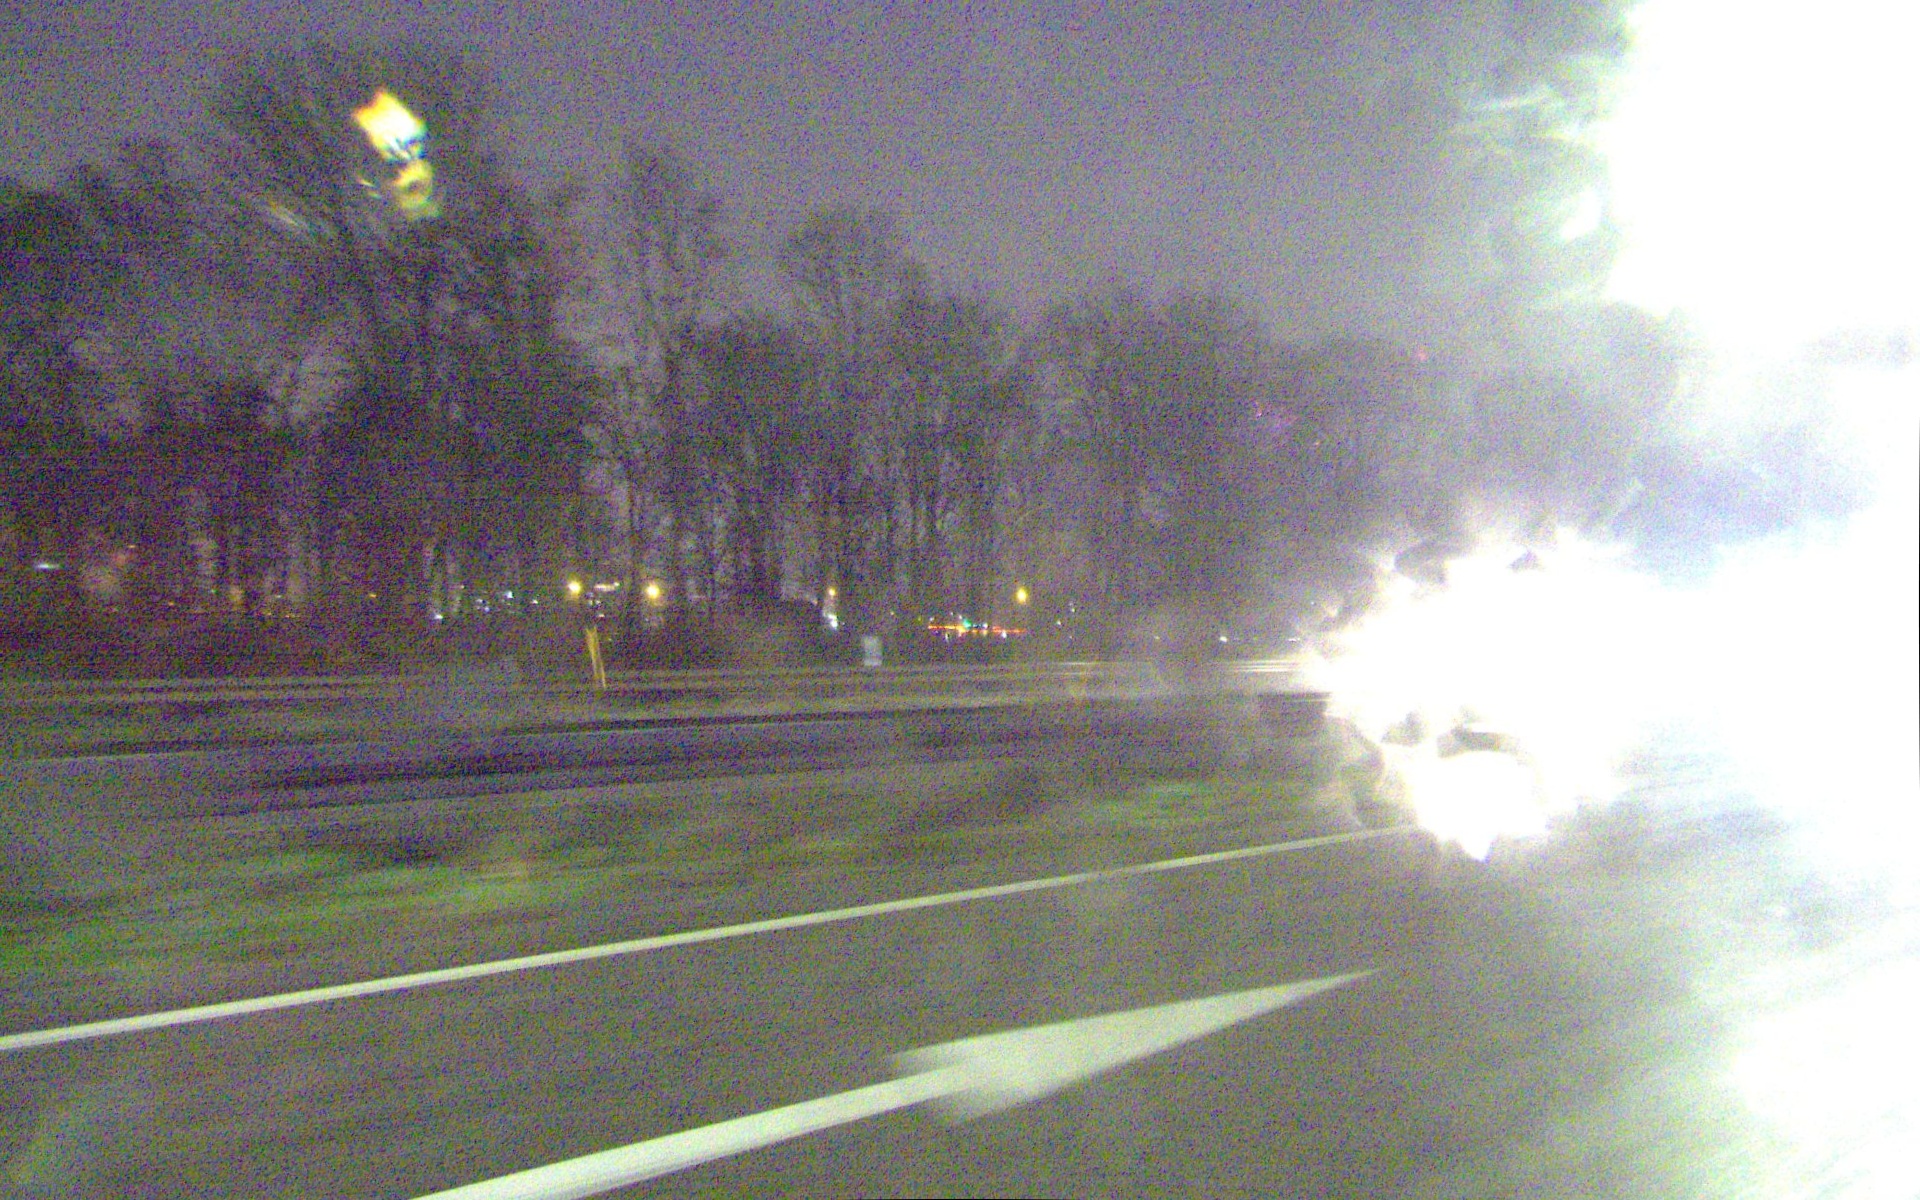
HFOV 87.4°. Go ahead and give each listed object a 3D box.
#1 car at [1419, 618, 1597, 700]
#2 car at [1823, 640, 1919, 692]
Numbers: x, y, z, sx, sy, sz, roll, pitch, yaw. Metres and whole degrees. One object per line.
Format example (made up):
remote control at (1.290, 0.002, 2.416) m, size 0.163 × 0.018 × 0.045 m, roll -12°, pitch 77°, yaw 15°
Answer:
car at (11.912, 1.266, 21.787) m, size 3.788 × 1.572 × 1.593 m, roll 3°, pitch 0°, yaw -30°
car at (31.563, 2.234, 34.033) m, size 4.840 × 1.522 × 2.013 m, roll 3°, pitch 0°, yaw -30°
